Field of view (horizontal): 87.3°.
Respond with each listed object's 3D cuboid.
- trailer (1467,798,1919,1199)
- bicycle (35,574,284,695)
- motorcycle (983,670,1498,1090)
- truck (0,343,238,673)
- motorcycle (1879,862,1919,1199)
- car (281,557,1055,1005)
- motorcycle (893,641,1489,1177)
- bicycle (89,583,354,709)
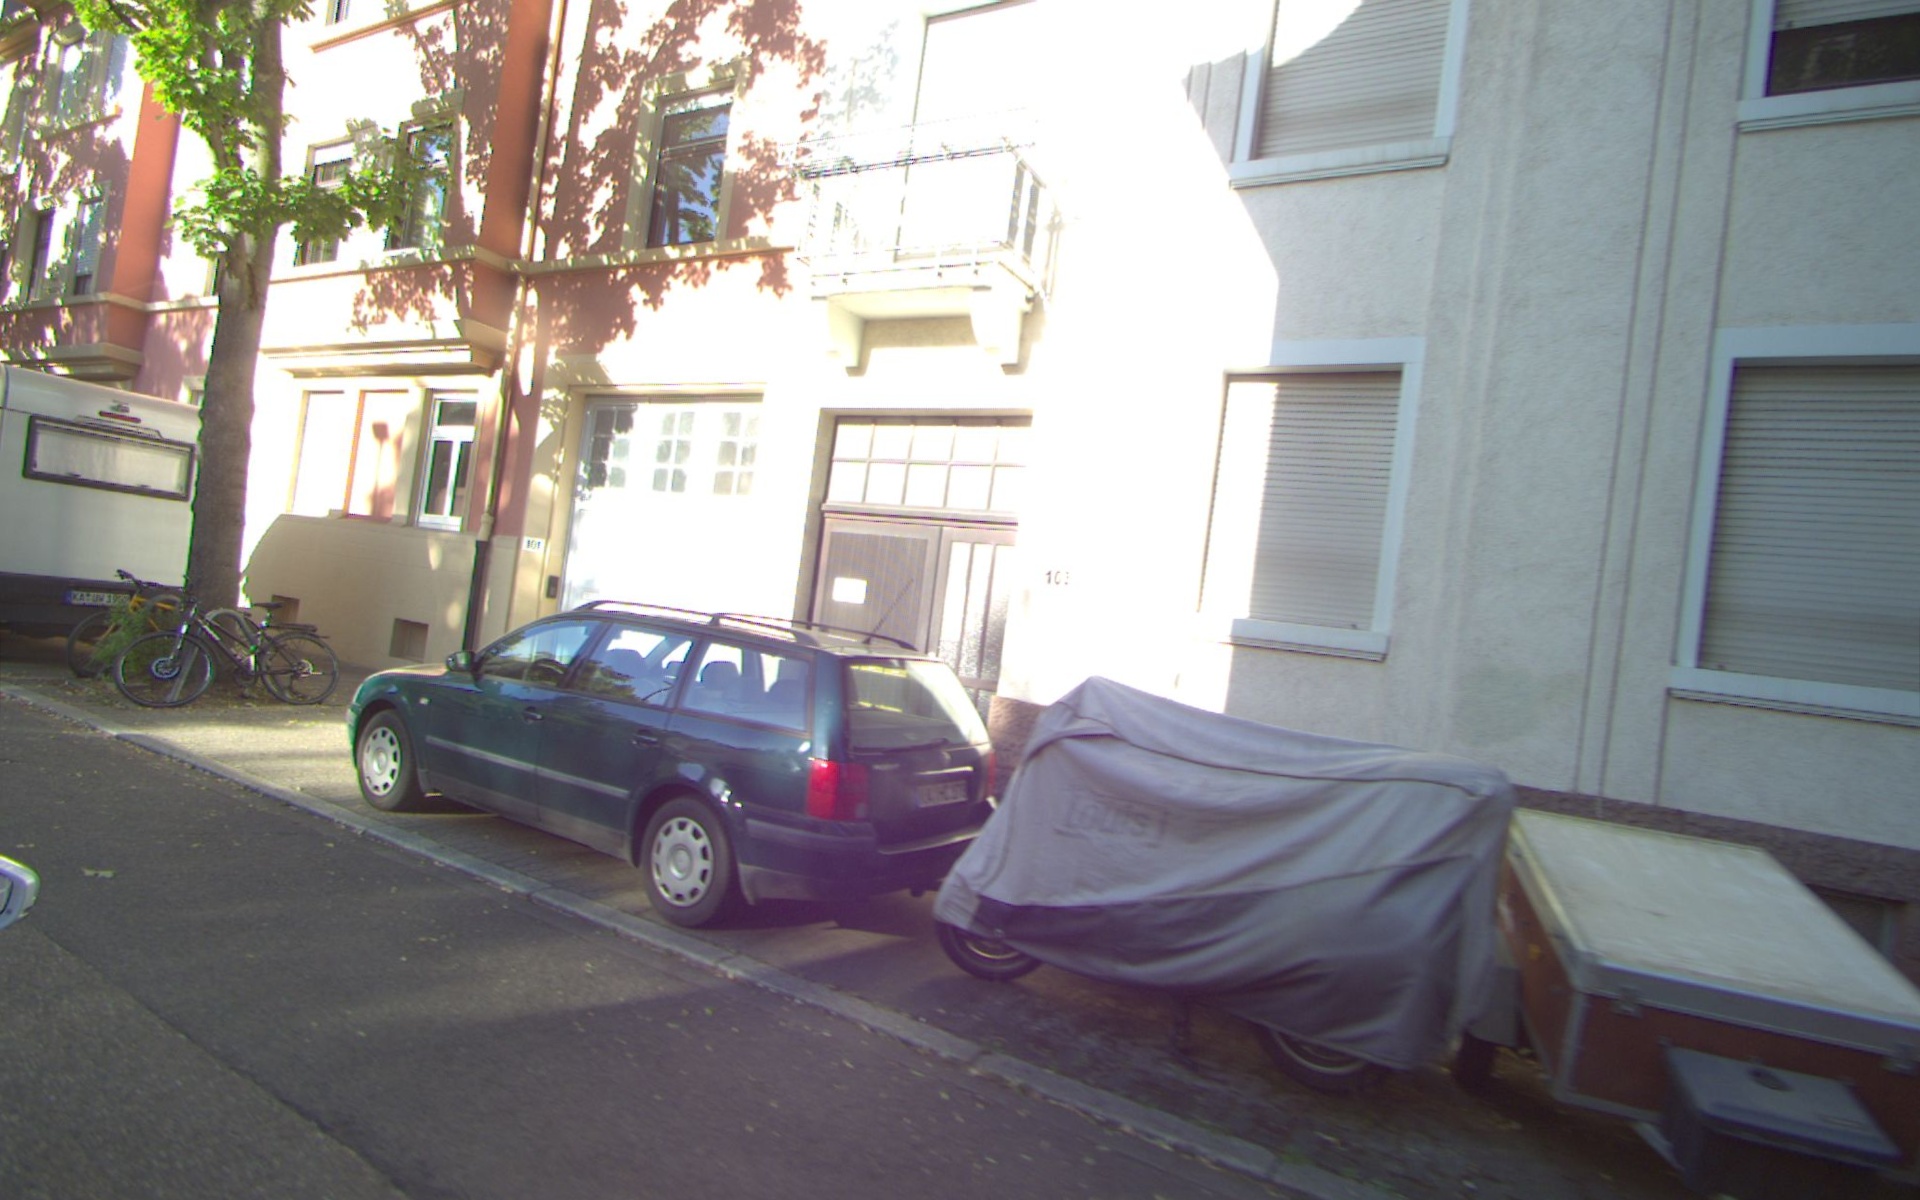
[{"bbox_3d":[2.597,1.433,3.406,1.095,1.124,2.090,7,-3,17],"label":"trailer"},{"bbox_3d":[-7.816,0.376,9.923,0.694,1.011,1.709,6,-3,24],"label":"bicycle"},{"bbox_3d":[1.365,1.234,5.064,2.197,1.432,0.863,7,-2,32],"label":"motorcycle"},{"bbox_3d":[-11.005,-1.077,11.427,6.005,3.006,2.076,7,1,30],"label":"truck"},{"bbox_3d":[3.678,1.551,2.630,0.690,1.254,1.763,8,-2,-8],"label":"motorcycle"},{"bbox_3d":[-1.982,0.783,6.197,4.702,1.547,1.754,6,-1,32],"label":"car"},{"bbox_3d":[0.928,1.081,4.235,2.103,1.502,0.932,7,-2,32],"label":"motorcycle"},{"bbox_3d":[-6.681,0.460,9.213,0.570,0.959,1.789,7,-3,32],"label":"bicycle"}]
